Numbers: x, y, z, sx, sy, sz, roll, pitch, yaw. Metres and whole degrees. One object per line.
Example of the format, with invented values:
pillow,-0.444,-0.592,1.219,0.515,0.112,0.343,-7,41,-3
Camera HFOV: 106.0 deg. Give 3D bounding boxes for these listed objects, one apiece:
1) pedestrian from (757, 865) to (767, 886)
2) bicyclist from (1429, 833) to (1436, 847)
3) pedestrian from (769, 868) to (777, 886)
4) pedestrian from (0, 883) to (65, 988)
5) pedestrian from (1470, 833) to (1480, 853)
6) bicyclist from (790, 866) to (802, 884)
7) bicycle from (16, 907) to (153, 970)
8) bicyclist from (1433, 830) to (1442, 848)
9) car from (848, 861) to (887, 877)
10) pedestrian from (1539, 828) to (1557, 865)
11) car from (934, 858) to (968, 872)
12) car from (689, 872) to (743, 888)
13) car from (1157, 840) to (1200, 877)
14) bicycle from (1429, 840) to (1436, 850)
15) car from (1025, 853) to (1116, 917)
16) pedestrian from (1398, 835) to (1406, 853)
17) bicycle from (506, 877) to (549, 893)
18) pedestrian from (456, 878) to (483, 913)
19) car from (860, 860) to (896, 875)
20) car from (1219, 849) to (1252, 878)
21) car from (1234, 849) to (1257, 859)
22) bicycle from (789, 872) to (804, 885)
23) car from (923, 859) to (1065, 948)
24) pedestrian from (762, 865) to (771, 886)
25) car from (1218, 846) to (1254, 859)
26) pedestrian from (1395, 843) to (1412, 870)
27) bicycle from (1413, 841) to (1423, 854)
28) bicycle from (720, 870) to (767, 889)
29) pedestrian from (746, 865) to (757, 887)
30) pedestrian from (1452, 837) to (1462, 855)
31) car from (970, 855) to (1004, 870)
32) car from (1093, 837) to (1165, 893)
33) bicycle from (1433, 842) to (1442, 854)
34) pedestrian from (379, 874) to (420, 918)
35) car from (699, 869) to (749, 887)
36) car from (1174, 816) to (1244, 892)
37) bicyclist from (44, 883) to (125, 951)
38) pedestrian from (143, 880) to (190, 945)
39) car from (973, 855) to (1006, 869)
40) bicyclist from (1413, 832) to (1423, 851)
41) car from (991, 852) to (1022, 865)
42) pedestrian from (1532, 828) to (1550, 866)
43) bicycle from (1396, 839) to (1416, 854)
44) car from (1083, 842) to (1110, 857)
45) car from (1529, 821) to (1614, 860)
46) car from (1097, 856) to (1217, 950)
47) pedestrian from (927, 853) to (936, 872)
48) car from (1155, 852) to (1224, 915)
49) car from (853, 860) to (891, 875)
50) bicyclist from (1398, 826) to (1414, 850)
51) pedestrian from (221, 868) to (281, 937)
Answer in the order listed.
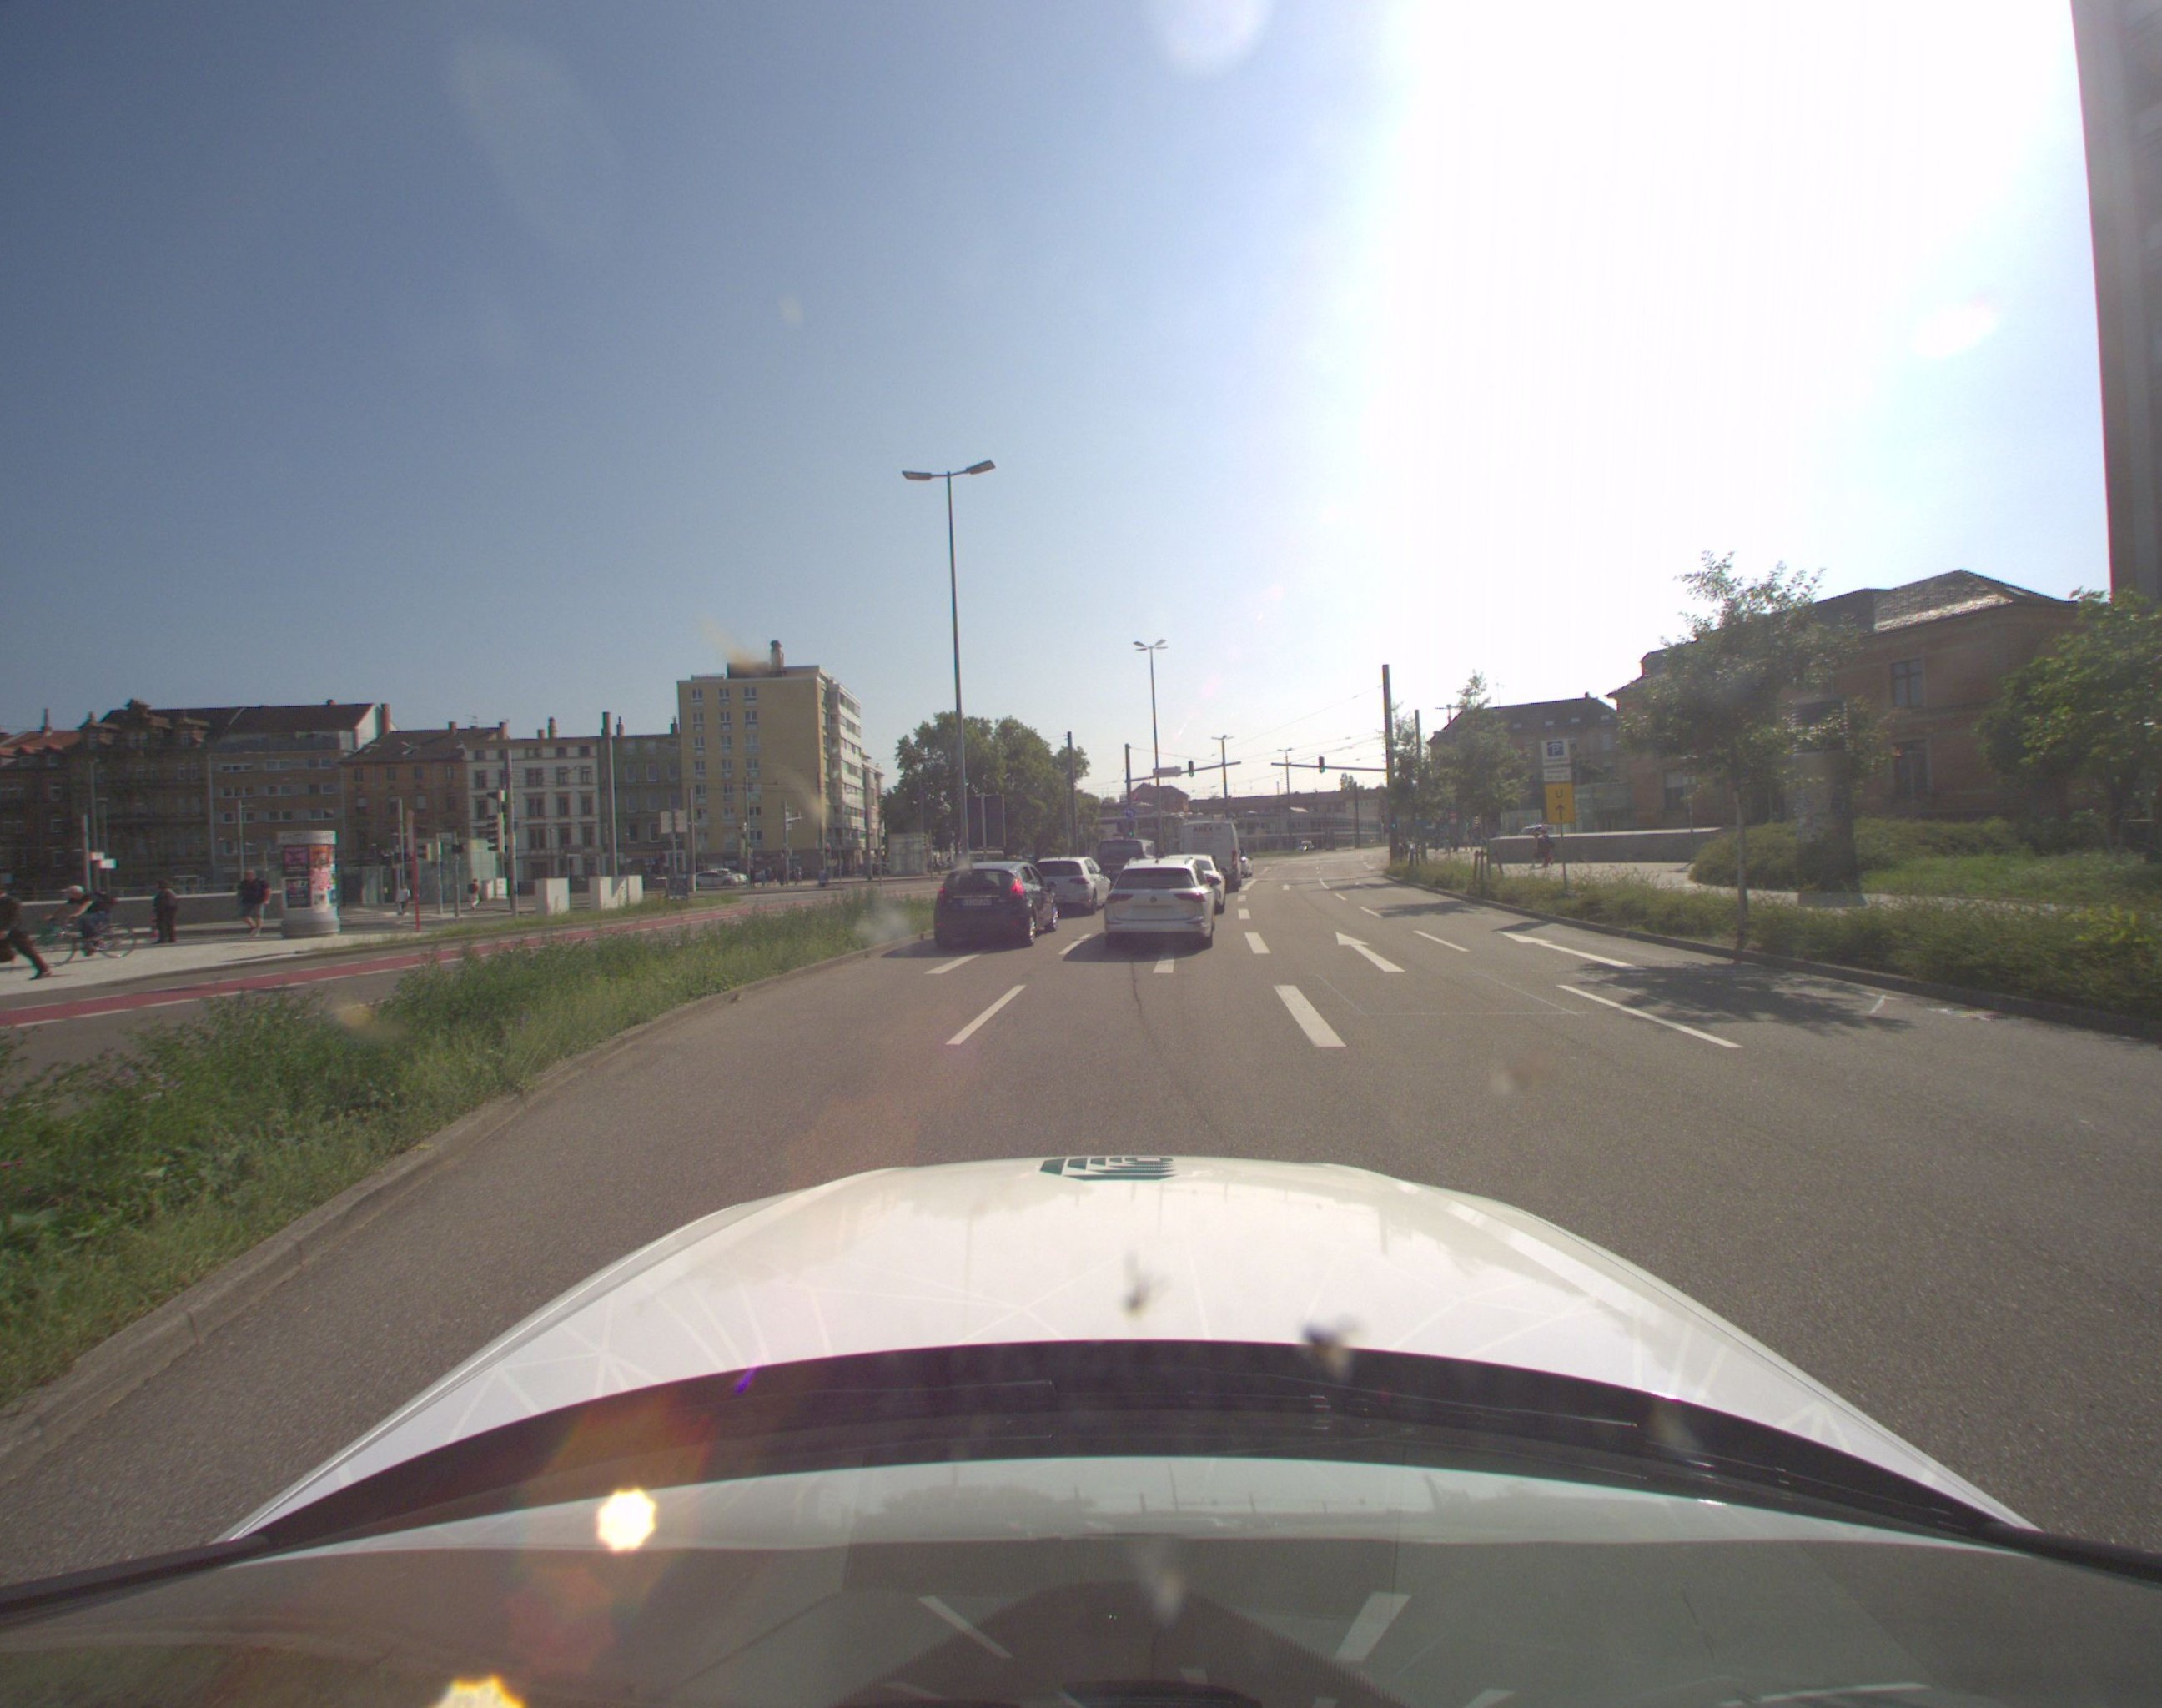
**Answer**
pedestrian,-25.903,1.767,66.215,0.452,1.684,0.549,-2,2,9
bicyclist,44.958,-1.793,104.193,0.739,1.829,0.811,-3,0,24
pedestrian,-25.614,1.899,67.723,0.501,1.487,0.435,-4,3,-41
pedestrian,-19.328,1.464,14.866,0.865,1.778,0.854,-1,3,38
pedestrian,37.975,-1.094,78.551,0.797,1.888,0.753,-3,0,24
bicyclist,-23.484,1.710,67.197,0.725,1.434,0.688,-2,0,-7
bicycle,-21.270,1.778,17.453,0.560,1.064,1.852,-1,2,2
bicyclist,36.066,-1.492,82.398,0.739,1.785,1.120,-3,0,24
car,-24.813,1.733,94.742,3.977,1.557,1.868,-2,2,-2
pedestrian,20.978,-0.353,36.579,0.608,1.628,0.537,-3,0,31
car,-16.363,1.373,102.345,3.979,1.558,1.726,-3,0,-4
car,-31.169,2.196,69.627,3.816,1.180,1.576,-2,-2,0
car,5.817,0.239,48.176,2.010,2.008,4.699,-2,0,12
bicycle,45.008,-1.132,104.216,0.733,1.217,2.258,-3,0,24
car,-0.182,0.747,21.215,1.479,1.415,3.661,-2,0,13
pedestrian,37.741,-1.169,95.804,0.739,2.013,0.811,-3,0,24
bicycle,-54.151,3.059,79.694,3.523,1.347,0.773,-3,2,-5
pedestrian,-32.303,2.185,43.005,0.831,1.819,0.777,-1,-2,-3
car,-25.220,1.670,101.396,3.979,1.557,1.867,-3,0,-4
car,8.220,0.496,43.147,1.626,1.403,3.699,-2,0,12
car,25.166,-0.015,124.484,1.974,1.442,4.026,-3,0,34
bicycle,-23.480,2.047,67.253,0.727,0.984,1.728,-2,0,-7
car,-1.461,0.824,15.159,1.692,1.368,3.972,-2,0,7
pedestrian,-26.040,1.806,67.374,0.458,1.684,0.435,-4,3,-41
car,18.101,-0.169,95.458,3.947,1.342,1.933,-3,0,5
pedestrian,17.110,0.138,43.189,0.632,1.362,0.635,-3,0,7
bicycle,28.596,-0.538,69.091,0.699,1.061,1.993,-3,0,24
bicycle,-33.458,2.525,80.823,3.980,1.551,1.194,-3,2,-5
pedestrian,-26.610,1.792,65.823,0.450,1.684,0.550,-1,2,22
pedestrian,33.392,-0.743,72.318,0.739,1.529,0.811,-3,0,24
car,-12.059,1.073,104.455,3.973,1.618,1.814,-3,0,1
car,2.004,0.392,32.464,2.009,2.008,4.701,-2,0,14
bicycle,36.094,-0.639,82.406,0.739,1.148,2.883,-3,0,24
pedestrian,-33.008,2.014,39.466,0.956,2.013,1.021,-2,2,-3
car,-31.922,2.119,72.924,3.728,1.393,1.585,-3,0,-3
car,4.889,0.010,30.583,2.173,2.549,4.700,-2,-1,13
bicyclist,-21.295,1.332,17.423,0.560,1.361,0.883,-1,2,1
pedestrian,-22.880,1.460,20.385,0.494,1.579,0.510,-2,2,12
car,-11.941,1.088,106.444,3.973,1.618,1.814,-3,0,1
bicyclist,28.566,-1.077,69.071,0.706,1.529,0.811,-3,0,24
car,-9.883,0.568,108.724,3.979,1.558,1.726,-3,0,-4
pedestrian,20.420,-0.305,36.138,0.608,1.639,0.537,-3,0,30
bicycle,22.000,-0.497,55.143,0.767,0.976,2.156,-2,0,9
car,2.480,-0.709,127.364,3.964,2.013,2.005,-2,2,8
car,28.091,-0.800,46.718,3.986,2.013,1.749,-3,2,-9
car,1.440,0.752,14.071,1.674,1.387,3.645,-2,-1,11
pedestrian,-16.322,0.954,89.143,0.819,2.013,0.509,-3,0,-1
car,2.856,0.693,20.802,1.479,1.403,3.954,-2,-1,11
car,-25.070,1.653,97.762,3.932,1.557,1.793,-2,2,-2
bicyclist,21.977,-1.078,55.160,0.767,1.578,0.993,-2,0,9
pedestrian,-23.243,1.336,22.826,0.885,1.818,0.887,-4,3,-32
